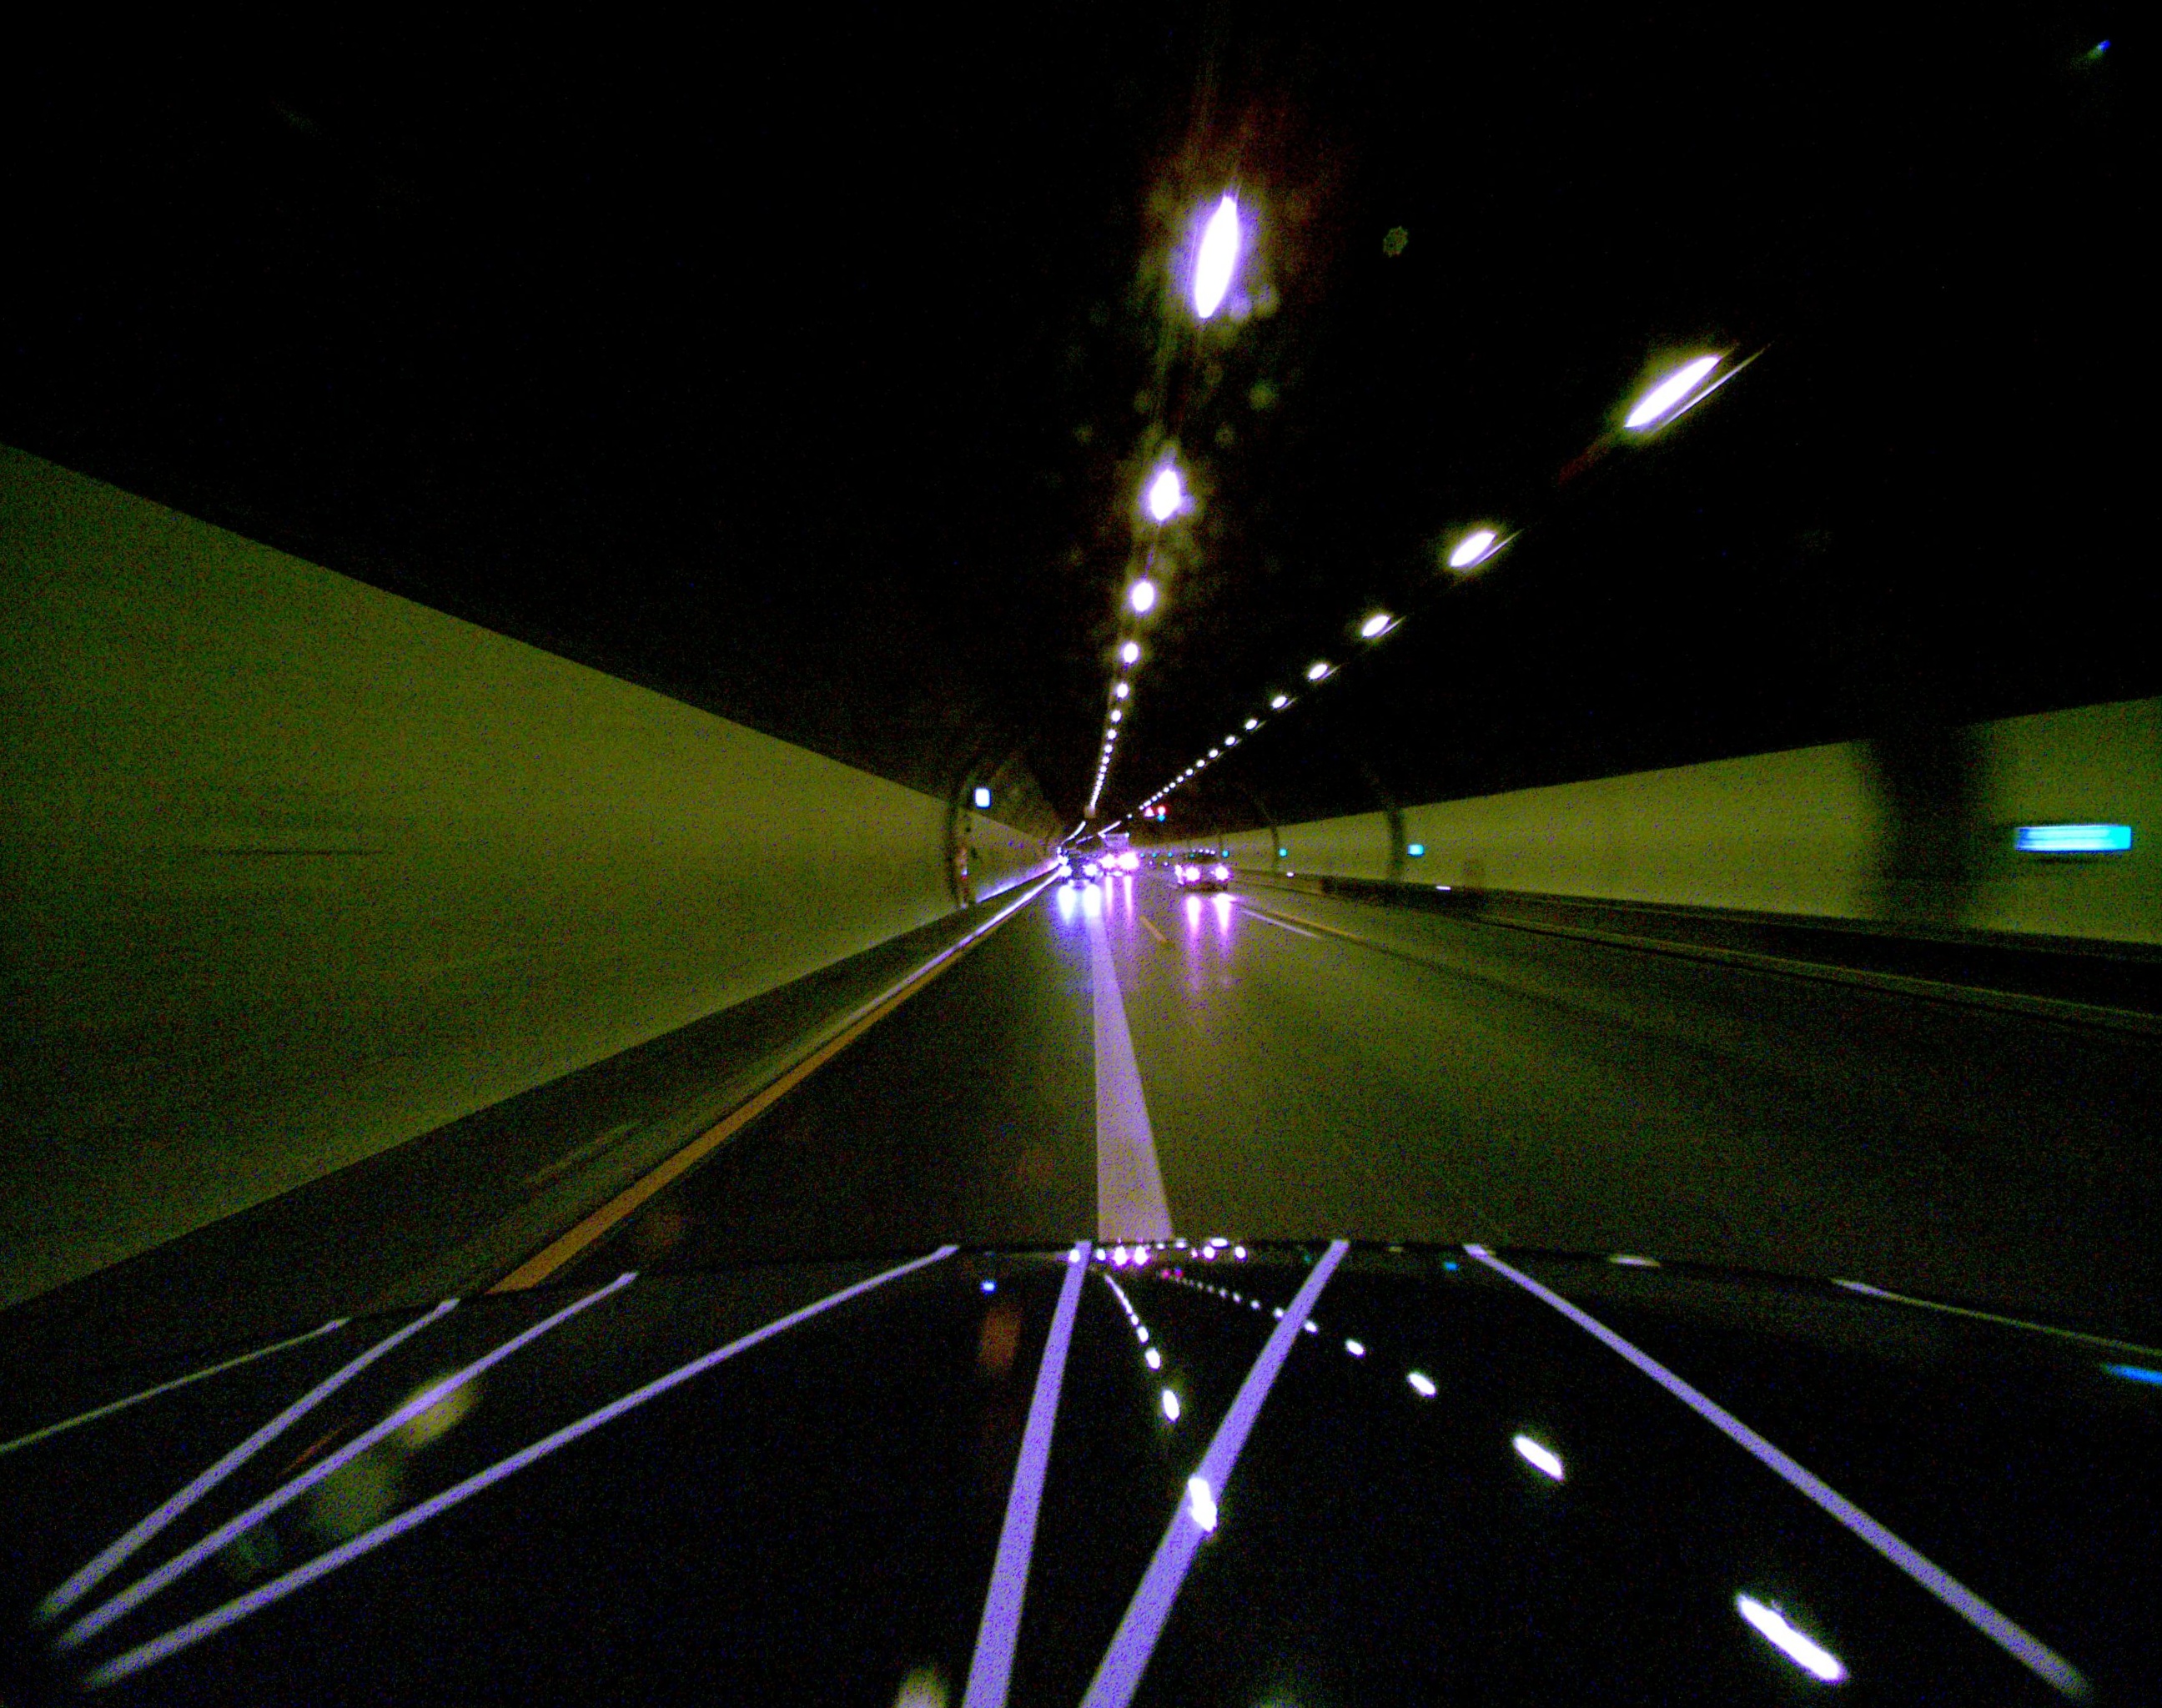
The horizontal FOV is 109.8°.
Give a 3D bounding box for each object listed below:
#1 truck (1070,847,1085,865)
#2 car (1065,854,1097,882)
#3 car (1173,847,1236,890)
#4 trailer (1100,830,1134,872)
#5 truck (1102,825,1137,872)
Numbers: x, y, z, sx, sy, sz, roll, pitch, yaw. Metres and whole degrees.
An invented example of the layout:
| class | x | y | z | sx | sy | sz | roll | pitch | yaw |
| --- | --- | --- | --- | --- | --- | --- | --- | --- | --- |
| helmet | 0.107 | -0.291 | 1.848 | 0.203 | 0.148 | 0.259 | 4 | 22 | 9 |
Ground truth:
| class | x | y | z | sx | sy | sz | roll | pitch | yaw |
| --- | --- | --- | --- | --- | --- | --- | --- | --- | --- |
| truck | -0.586 | 0.394 | 125.670 | 2.151 | 2.609 | 9.907 | -2 | -1 | -1 |
| car | 0.038 | 0.799 | 45.045 | 1.728 | 1.474 | 4.000 | -2 | 0 | 1 |
| car | 4.923 | 0.524 | 30.822 | 1.766 | 1.563 | 4.096 | -2 | 1 | -1 |
| trailer | 3.000 | -0.264 | 65.998 | 2.374 | 3.328 | 12.078 | -1 | 0 | 0 |
| truck | 2.973 | -0.439 | 59.284 | 2.374 | 3.328 | 4.719 | -4 | 1 | 2 |
